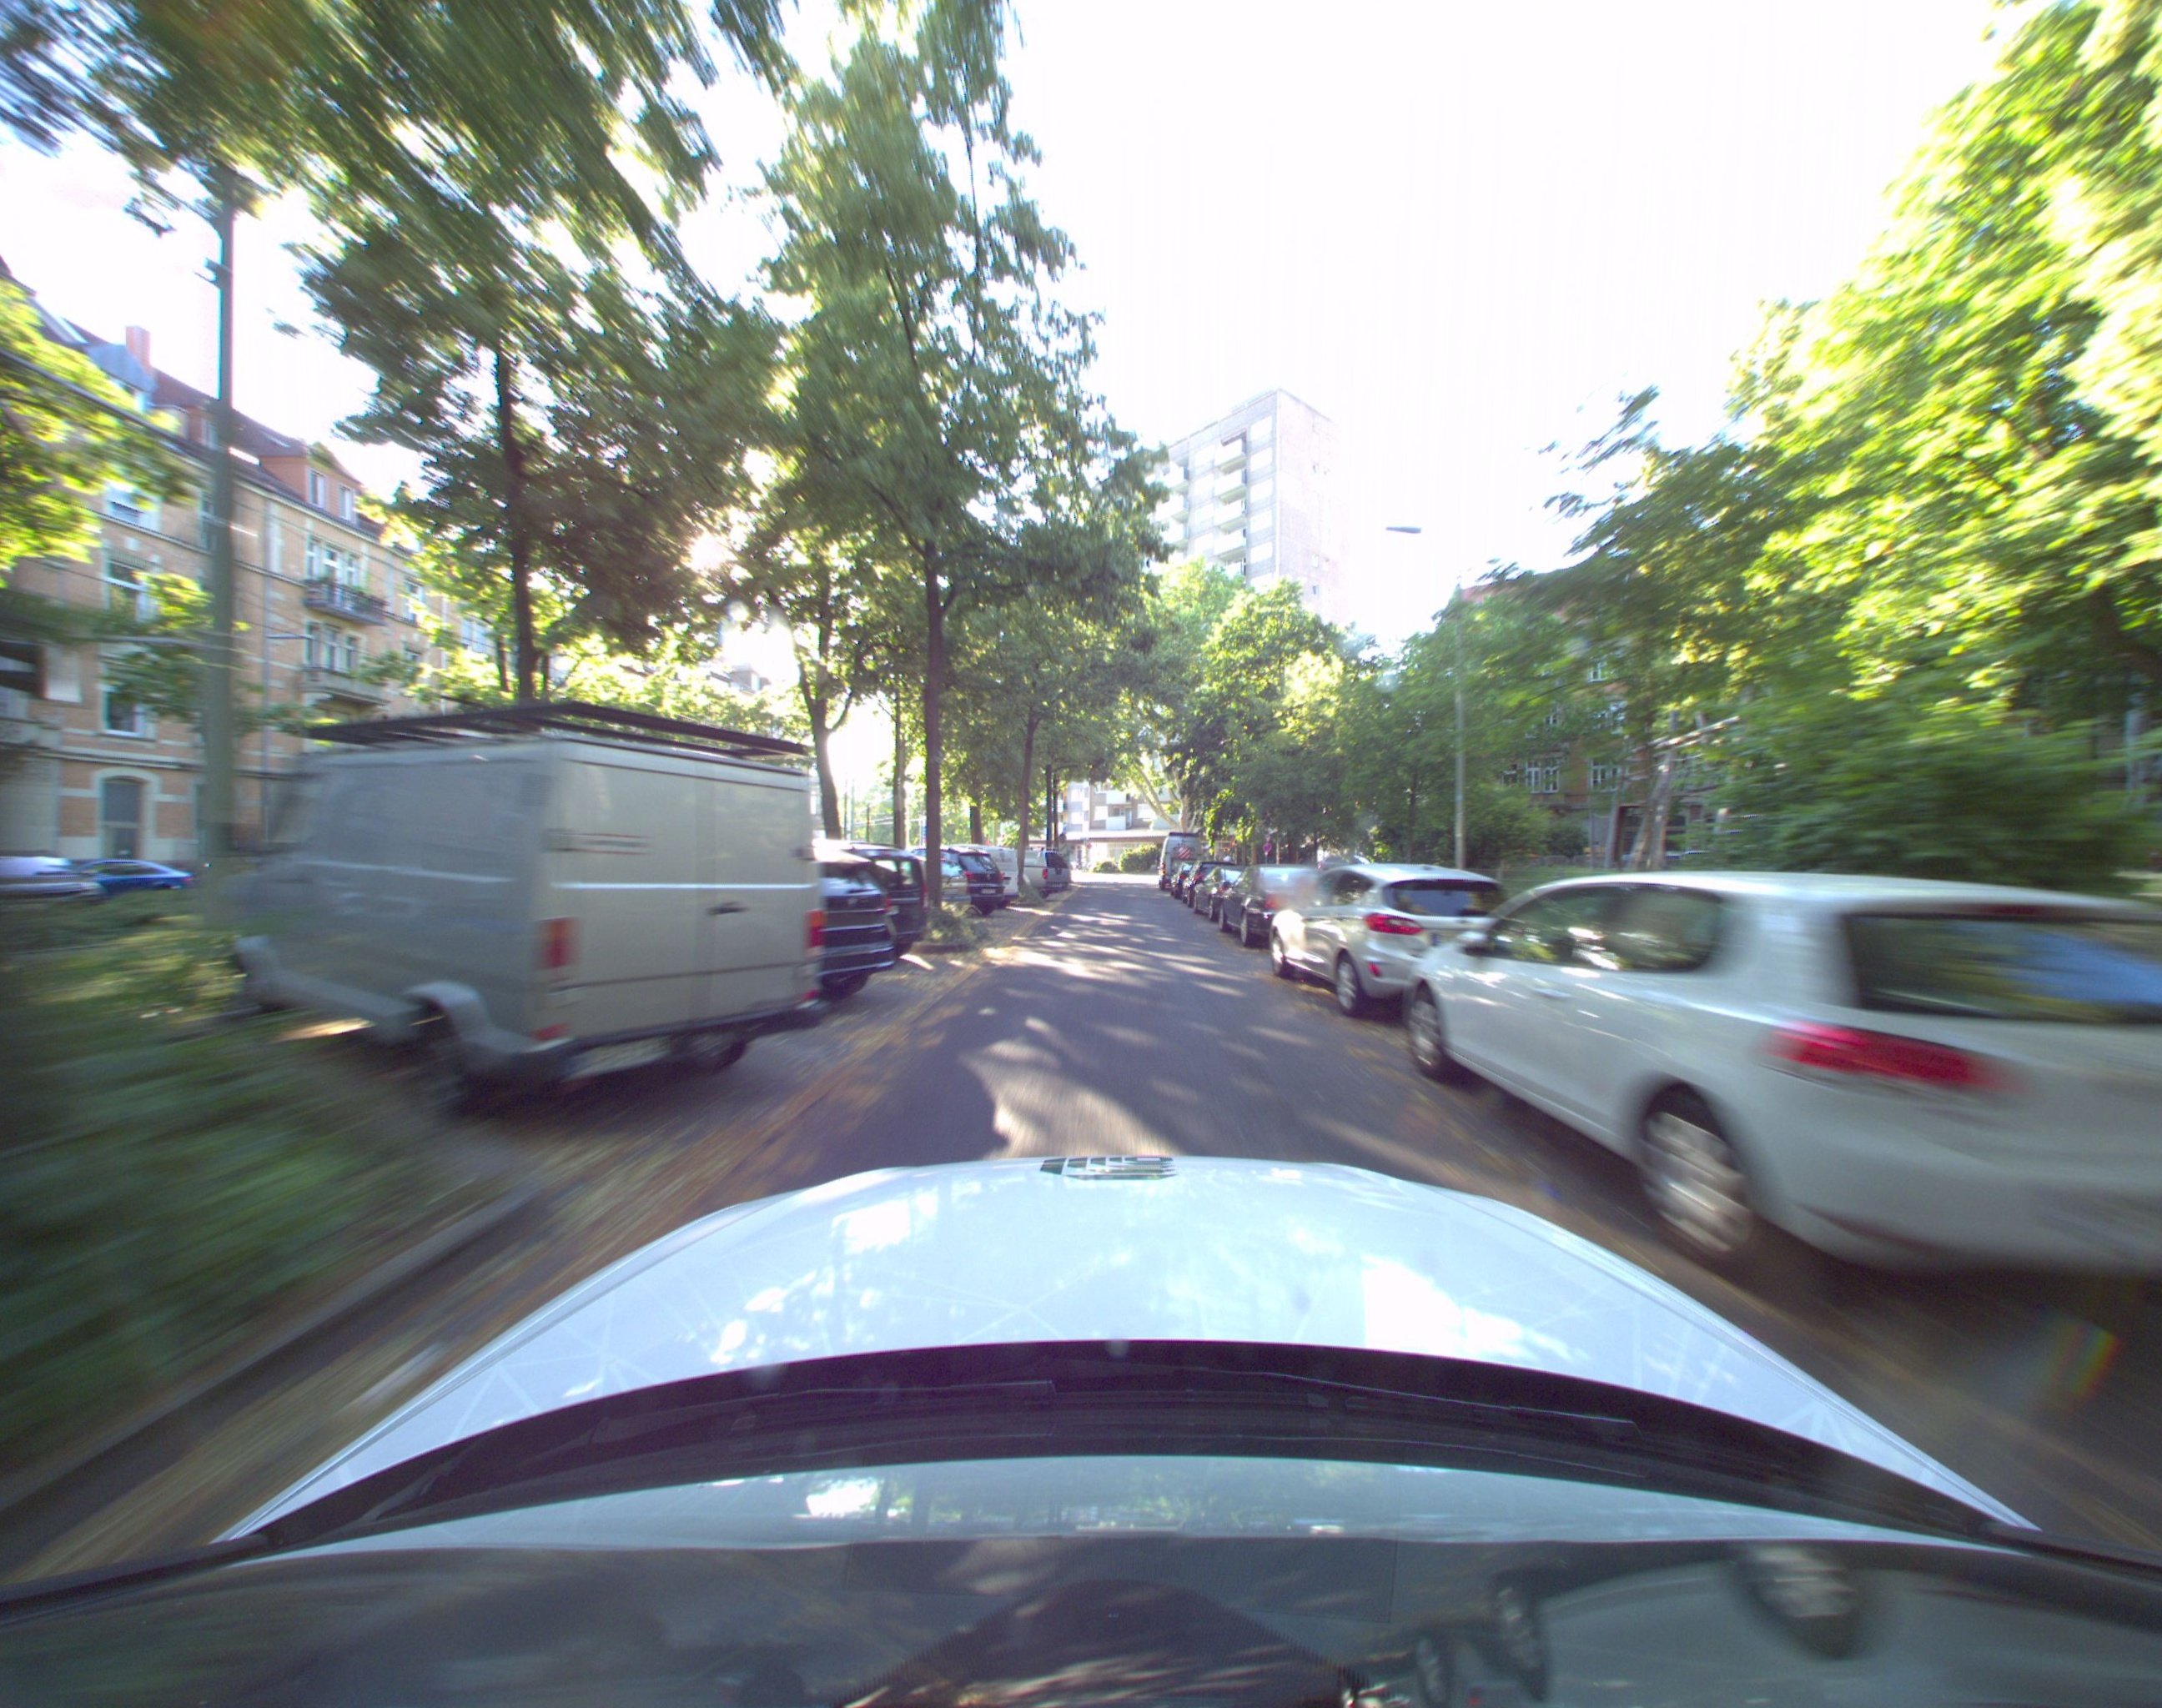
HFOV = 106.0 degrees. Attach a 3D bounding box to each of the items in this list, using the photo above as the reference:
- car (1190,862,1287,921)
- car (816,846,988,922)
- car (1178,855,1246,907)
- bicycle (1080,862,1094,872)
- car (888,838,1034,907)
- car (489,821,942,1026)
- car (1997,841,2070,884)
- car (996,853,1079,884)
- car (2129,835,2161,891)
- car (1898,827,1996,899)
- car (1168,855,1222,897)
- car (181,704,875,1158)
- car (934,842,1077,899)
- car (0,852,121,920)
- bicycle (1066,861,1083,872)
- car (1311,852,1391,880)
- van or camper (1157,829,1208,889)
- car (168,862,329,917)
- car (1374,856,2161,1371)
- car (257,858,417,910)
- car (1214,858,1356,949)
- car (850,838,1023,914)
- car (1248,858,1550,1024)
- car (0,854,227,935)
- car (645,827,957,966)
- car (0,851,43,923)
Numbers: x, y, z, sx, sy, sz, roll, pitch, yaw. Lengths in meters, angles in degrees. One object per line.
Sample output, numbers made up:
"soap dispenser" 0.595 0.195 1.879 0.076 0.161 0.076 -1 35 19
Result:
"car" 3.846 0.863 20.561 1.675 1.283 4.287 0 0 1
"car" -4.035 0.638 18.288 3.384 1.425 1.845 3 0 32
"car" 4.100 0.803 26.129 1.674 1.526 4.290 0 0 3
"bicycle" 0.570 1.209 77.749 0.546 0.904 1.718 0 0 -33
"car" -3.624 0.508 24.231 4.107 1.781 1.895 3 0 37
"car" -3.968 0.581 8.807 4.464 1.616 1.945 3 0 25
"car" 41.760 0.368 35.701 4.020 1.783 1.977 0 -1 -39
"car" -2.423 0.794 44.986 4.148 1.439 1.842 3 0 27
"car" 36.510 0.286 27.038 4.020 1.783 1.977 0 -1 -39
"car" 32.563 0.340 30.766 5.540 2.456 2.343 1 -1 -45
"car" 4.389 0.808 31.806 1.673 1.526 4.492 0 0 3
"car" -4.357 0.266 6.119 5.445 2.137 2.094 3 0 31
"car" -2.842 0.572 30.228 4.939 1.781 1.999 3 0 29
"car" -19.917 0.548 15.367 4.151 1.168 1.509 0 0 29
"bicycle" -0.666 1.182 79.646 0.643 1.022 2.065 0 0 -35
"car" 16.246 0.711 49.142 1.751 1.552 4.224 5 -4 -42
"van or camper" 4.959 0.224 40.489 2.075 2.762 5.849 0 0 3
"car" -28.371 1.157 27.910 1.845 1.582 3.507 3 1 -1
"car" 3.099 0.748 4.360 1.674 1.454 4.077 0 0 1
"car" -20.293 0.767 22.227 3.953 1.317 1.602 0 0 21
"car" 3.637 0.803 15.350 1.674 1.424 4.661 0 0 2
"car" -3.764 0.534 21.021 4.107 1.644 1.927 3 0 33
"car" 3.245 0.778 9.237 1.676 1.454 4.071 0 0 -3
"car" -28.149 1.090 23.841 1.987 2.013 3.999 3 1 -1
"car" -4.234 0.517 12.127 4.462 1.616 1.865 3 0 31
"car" -28.307 0.830 19.687 1.845 1.782 3.507 3 1 -1
